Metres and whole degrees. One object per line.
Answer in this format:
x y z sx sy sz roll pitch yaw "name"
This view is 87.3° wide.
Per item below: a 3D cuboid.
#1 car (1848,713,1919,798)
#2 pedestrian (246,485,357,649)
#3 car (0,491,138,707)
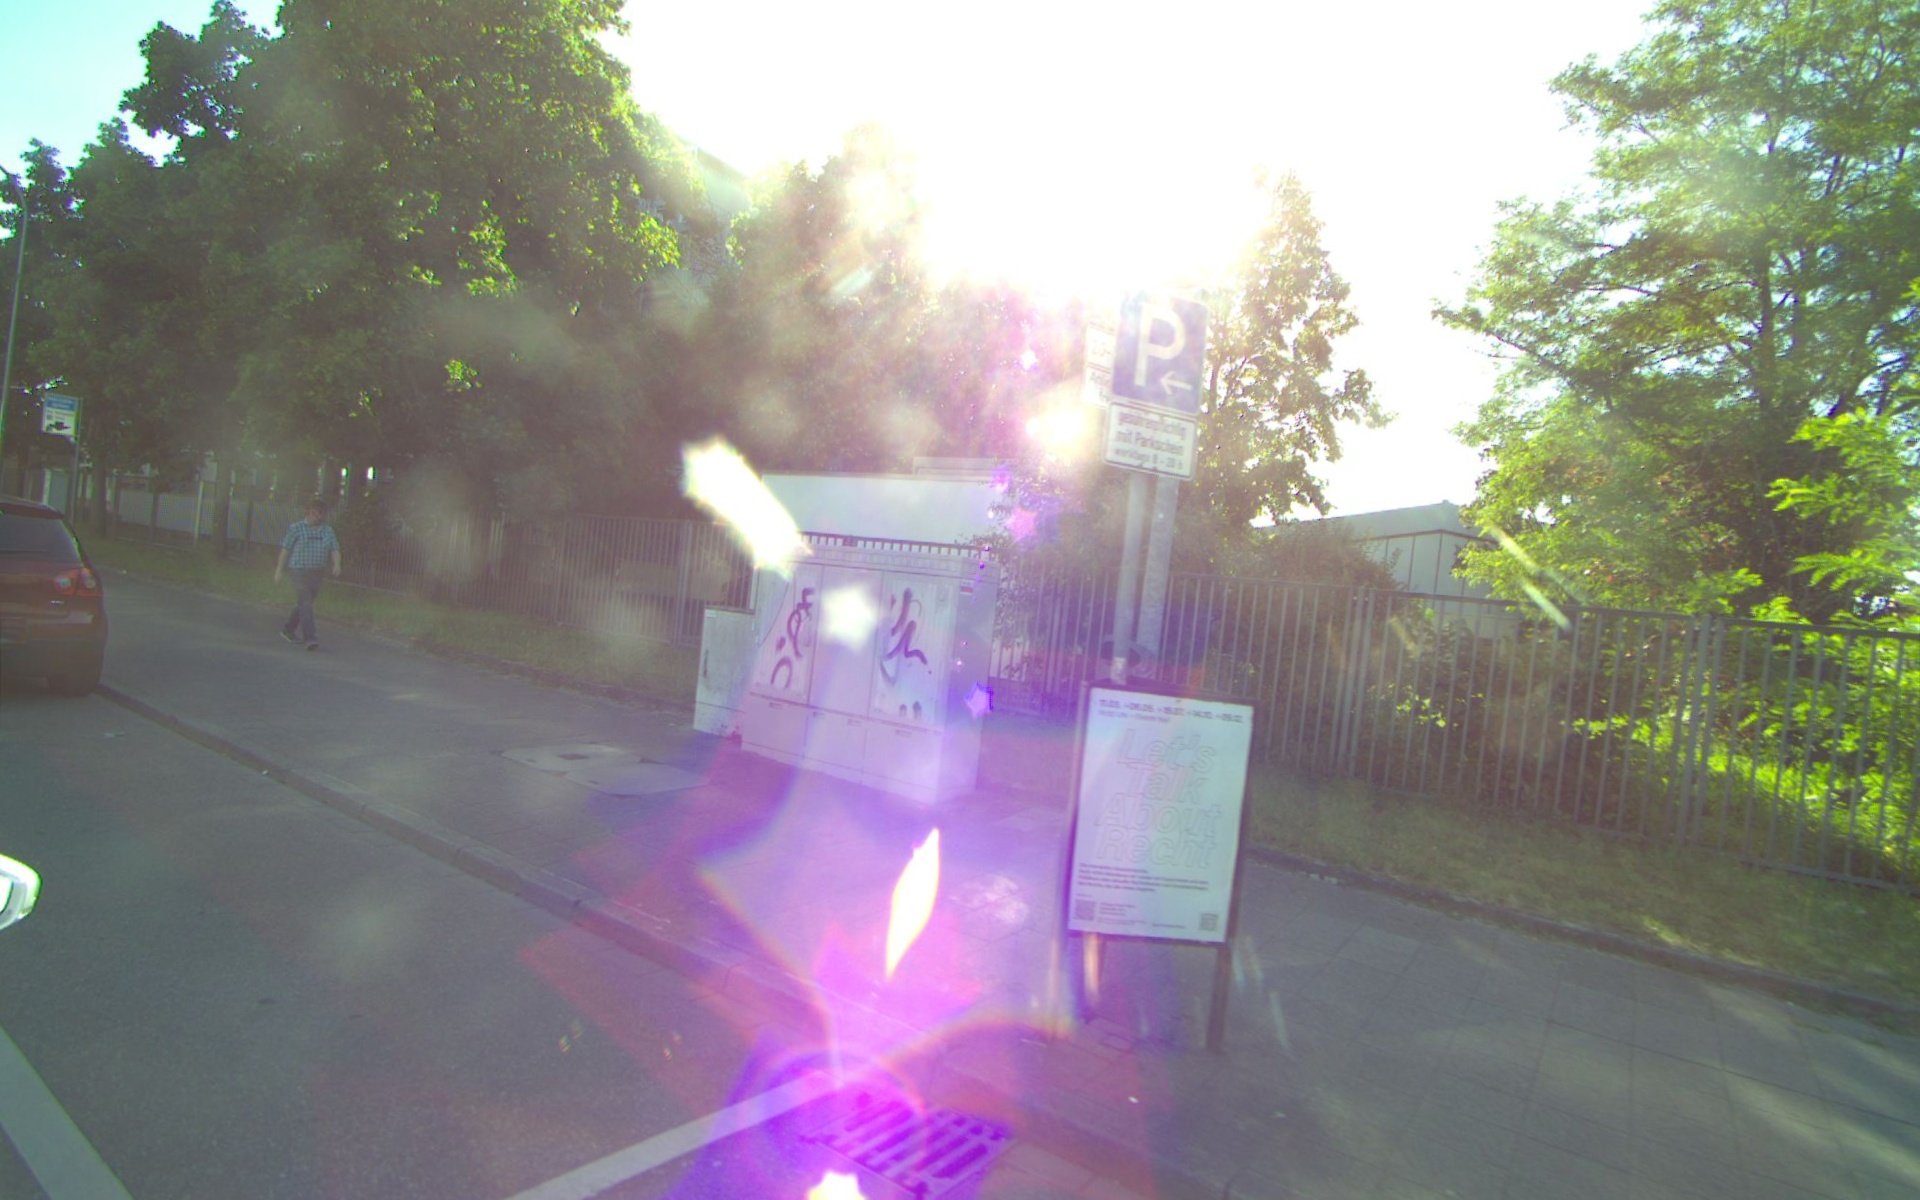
19.637 3.202 20.429 1.684 1.455 3.990 7 0 33 "car"
-7.585 -0.374 11.586 0.871 1.782 0.717 8 4 35 "pedestrian"
-8.535 -0.243 8.048 4.578 1.472 1.721 7 -1 34 "car"
